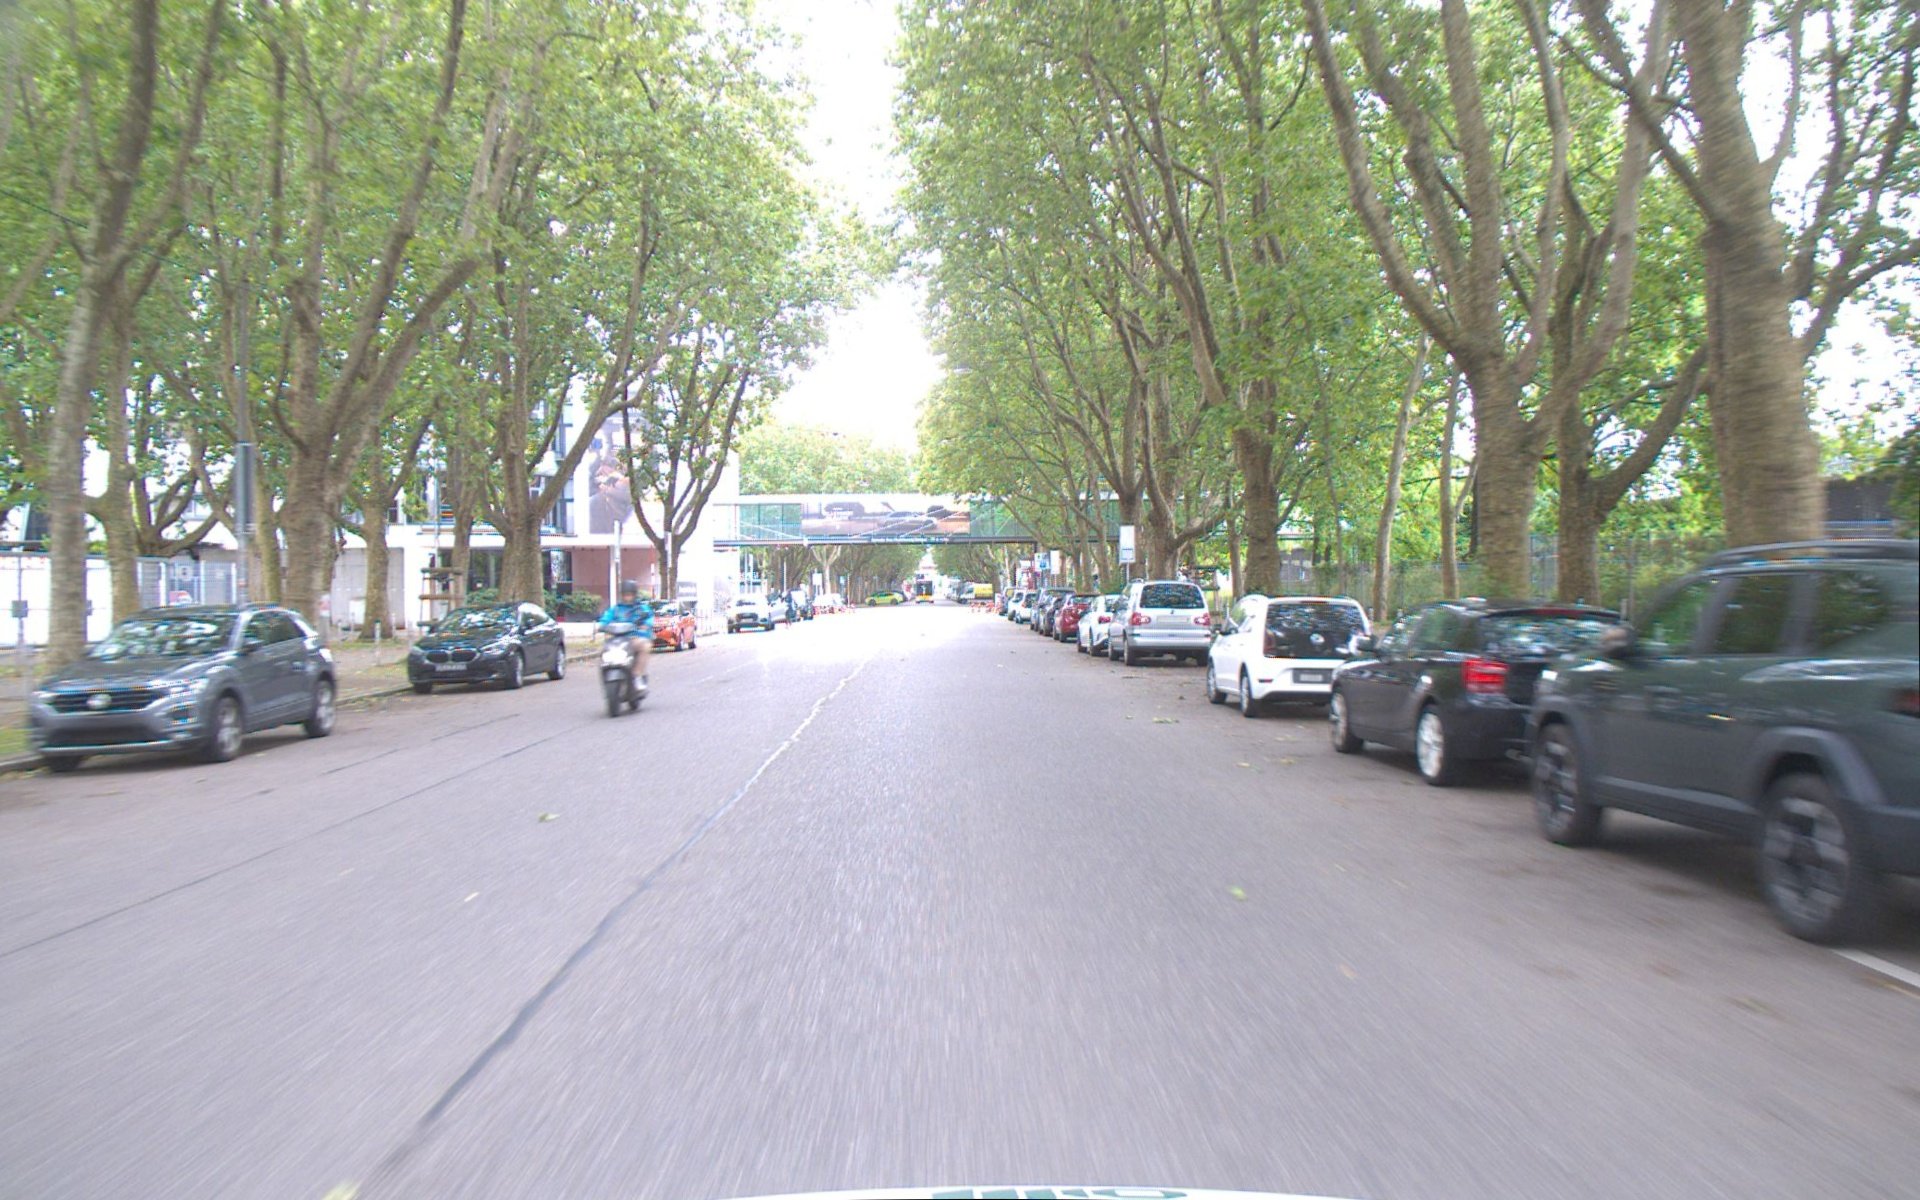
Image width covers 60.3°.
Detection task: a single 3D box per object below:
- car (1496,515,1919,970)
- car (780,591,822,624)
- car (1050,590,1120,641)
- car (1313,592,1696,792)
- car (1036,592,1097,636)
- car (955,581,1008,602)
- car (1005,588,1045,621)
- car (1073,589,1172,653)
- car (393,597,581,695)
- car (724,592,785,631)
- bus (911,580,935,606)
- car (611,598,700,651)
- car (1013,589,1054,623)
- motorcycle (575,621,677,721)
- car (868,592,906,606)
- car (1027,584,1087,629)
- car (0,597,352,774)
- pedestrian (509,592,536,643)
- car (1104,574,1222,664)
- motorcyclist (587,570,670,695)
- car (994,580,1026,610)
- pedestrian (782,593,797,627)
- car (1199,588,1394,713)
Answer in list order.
[{"bbox_3d":[4.405,0.539,8.443,1.673,1.728,4.629,1,0,-2],"label":"car"},{"bbox_3d":[-9.596,0.433,99.934,1.993,1.820,4.907,-4,0,0],"label":"car"},{"bbox_3d":[3.871,0.470,51.797,1.819,1.507,4.176,-1,0,-1],"label":"car"},{"bbox_3d":[4.431,0.655,14.215,1.673,1.440,4.358,0,0,-3],"label":"car"},{"bbox_3d":[3.735,0.465,58.467,1.838,1.452,4.479,-1,0,0],"label":"car"},{"bbox_3d":[2.770,-1.073,214.593,6.687,2.557,2.315,-1,0,-3],"label":"car"},{"bbox_3d":[3.401,0.238,87.772,1.875,1.646,4.748,-1,0,0],"label":"car"},{"bbox_3d":[3.911,0.470,40.434,1.839,1.452,4.584,-1,0,-2],"label":"car"},{"bbox_3d":[-8.094,0.729,28.778,1.789,1.491,4.628,-2,0,1],"label":"car"},{"bbox_3d":[-8.792,0.469,71.117,2.031,1.590,4.755,-1,0,0],"label":"car"},{"bbox_3d":[-5.047,-0.903,223.687,2.977,3.215,12.673,-3,0,-1],"label":"bus"},{"bbox_3d":[-8.535,0.652,46.652,1.771,1.378,4.000,-1,0,0],"label":"car"},{"bbox_3d":[3.524,0.274,79.689,1.771,1.553,4.095,-1,0,-1],"label":"car"},{"bbox_3d":[-4.131,0.839,20.709,0.856,1.098,3.050,-1,0,-4],"label":"motorcycle"},{"bbox_3d":[-8.996,-0.157,204.299,4.604,1.612,1.864,-1,0,0],"label":"car"},{"bbox_3d":[3.785,0.247,65.368,1.941,1.709,4.730,-1,0,-2],"label":"car"},{"bbox_3d":[-8.058,0.781,17.296,1.840,1.553,4.150,-2,0,-1],"label":"car"},{"bbox_3d":[-14.352,0.577,54.242,0.579,1.648,0.792,-1,0,8],"label":"pedestrian"},{"bbox_3d":[4.231,0.360,35.113,1.864,1.769,4.506,-1,0,-1],"label":"car"},{"bbox_3d":[-4.134,0.396,20.718,0.853,1.506,1.264,-1,0,-4],"label":"motorcyclist"},{"bbox_3d":[3.118,-0.292,104.485,1.810,1.814,5.210,0,0,-1],"label":"car"},{"bbox_3d":[-7.451,0.427,72.357,0.571,1.492,0.567,0,0,3],"label":"pedestrian"},{"bbox_3d":[4.217,0.582,21.284,1.672,1.452,3.888,1,0,-1],"label":"car"}]
